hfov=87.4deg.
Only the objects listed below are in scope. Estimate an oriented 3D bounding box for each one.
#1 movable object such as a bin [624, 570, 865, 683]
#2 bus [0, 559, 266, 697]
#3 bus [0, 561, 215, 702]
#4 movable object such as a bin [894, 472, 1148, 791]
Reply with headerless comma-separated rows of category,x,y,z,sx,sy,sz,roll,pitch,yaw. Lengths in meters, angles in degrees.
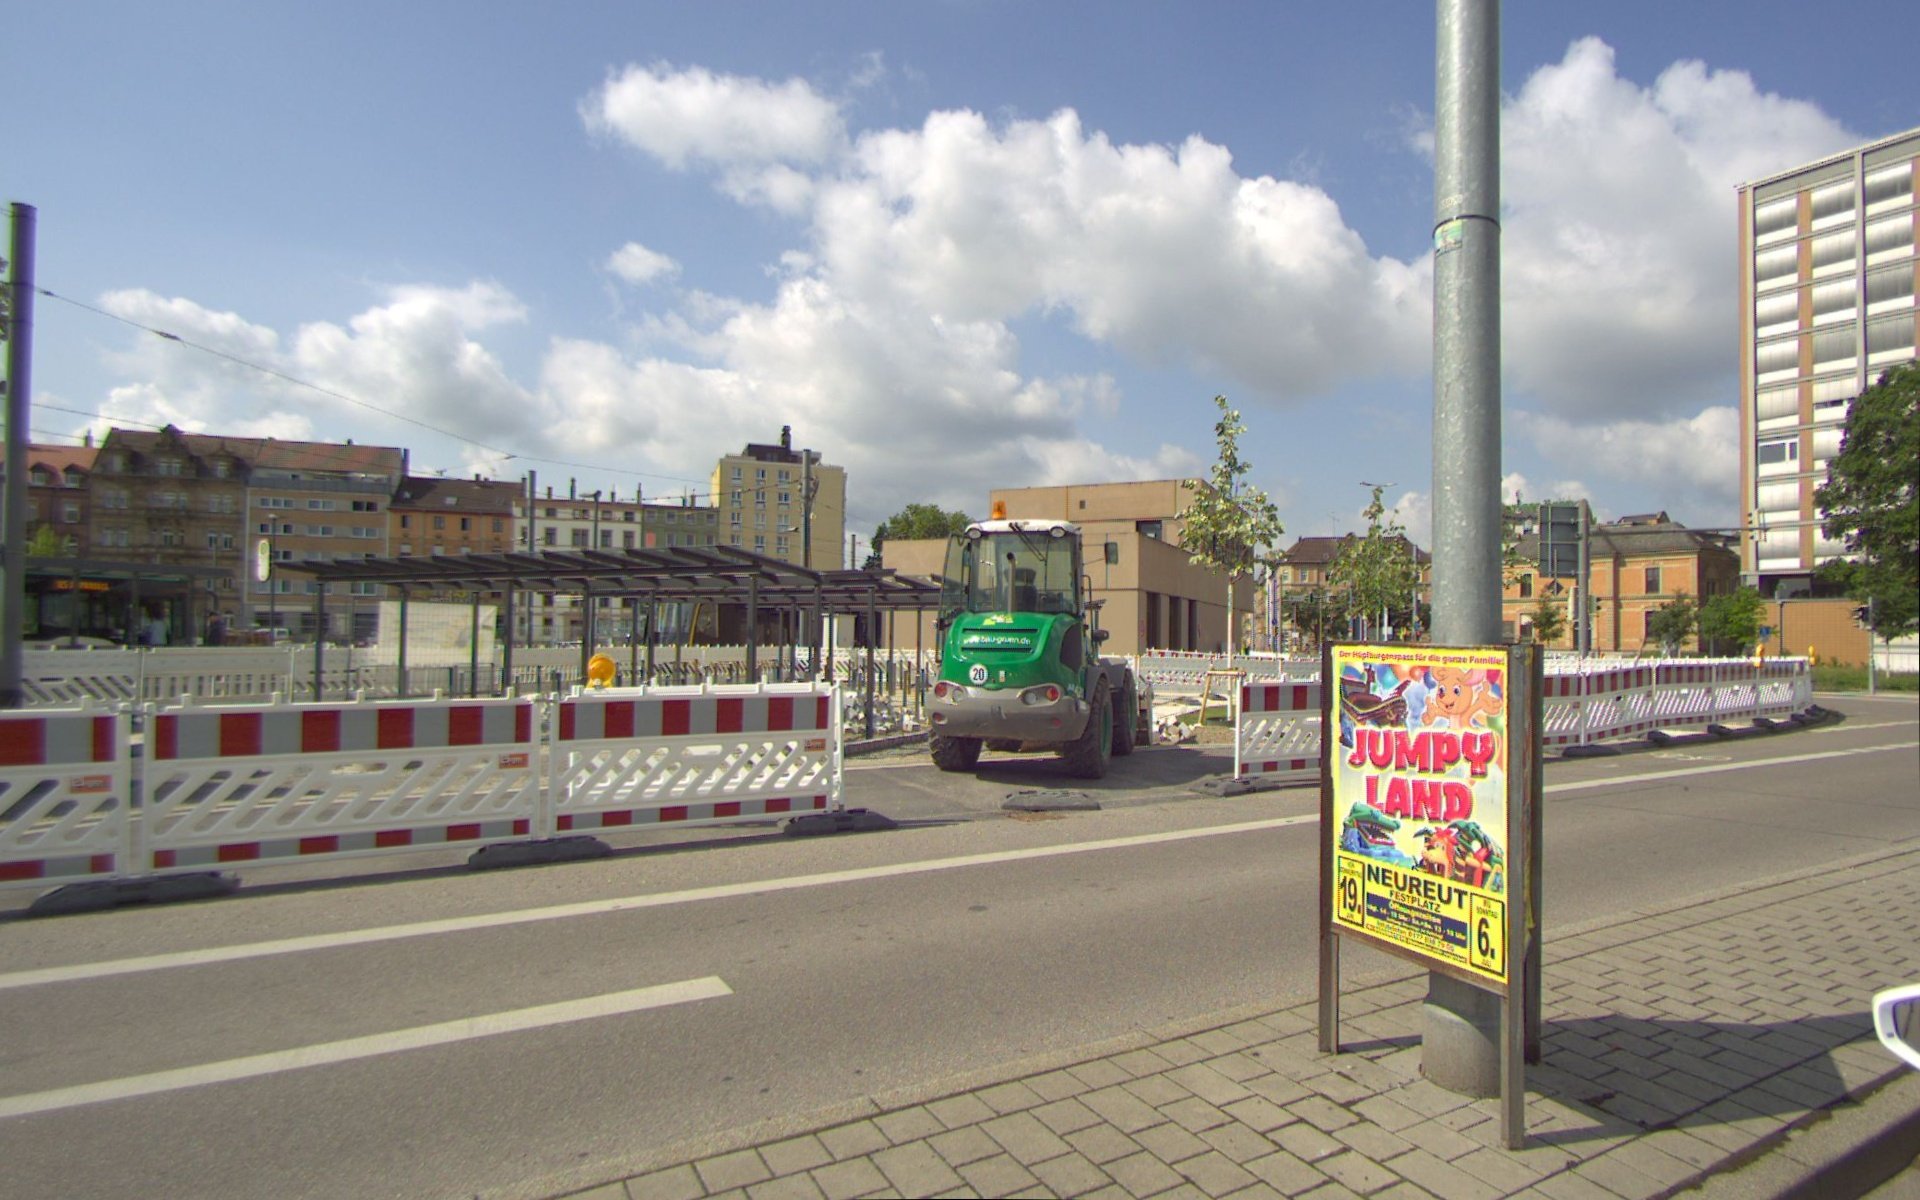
movable object such as a bin,-7.238,1.007,35.799,2.966,3.468,9.677,0,-2,27
bus,-24.303,0.692,24.651,2.937,3.305,12.067,-1,-2,25
bus,-21.991,0.717,22.951,2.329,3.098,7.758,-1,-2,25
movable object such as a bin,0.951,0.386,11.814,1.960,2.988,4.453,0,-2,17
